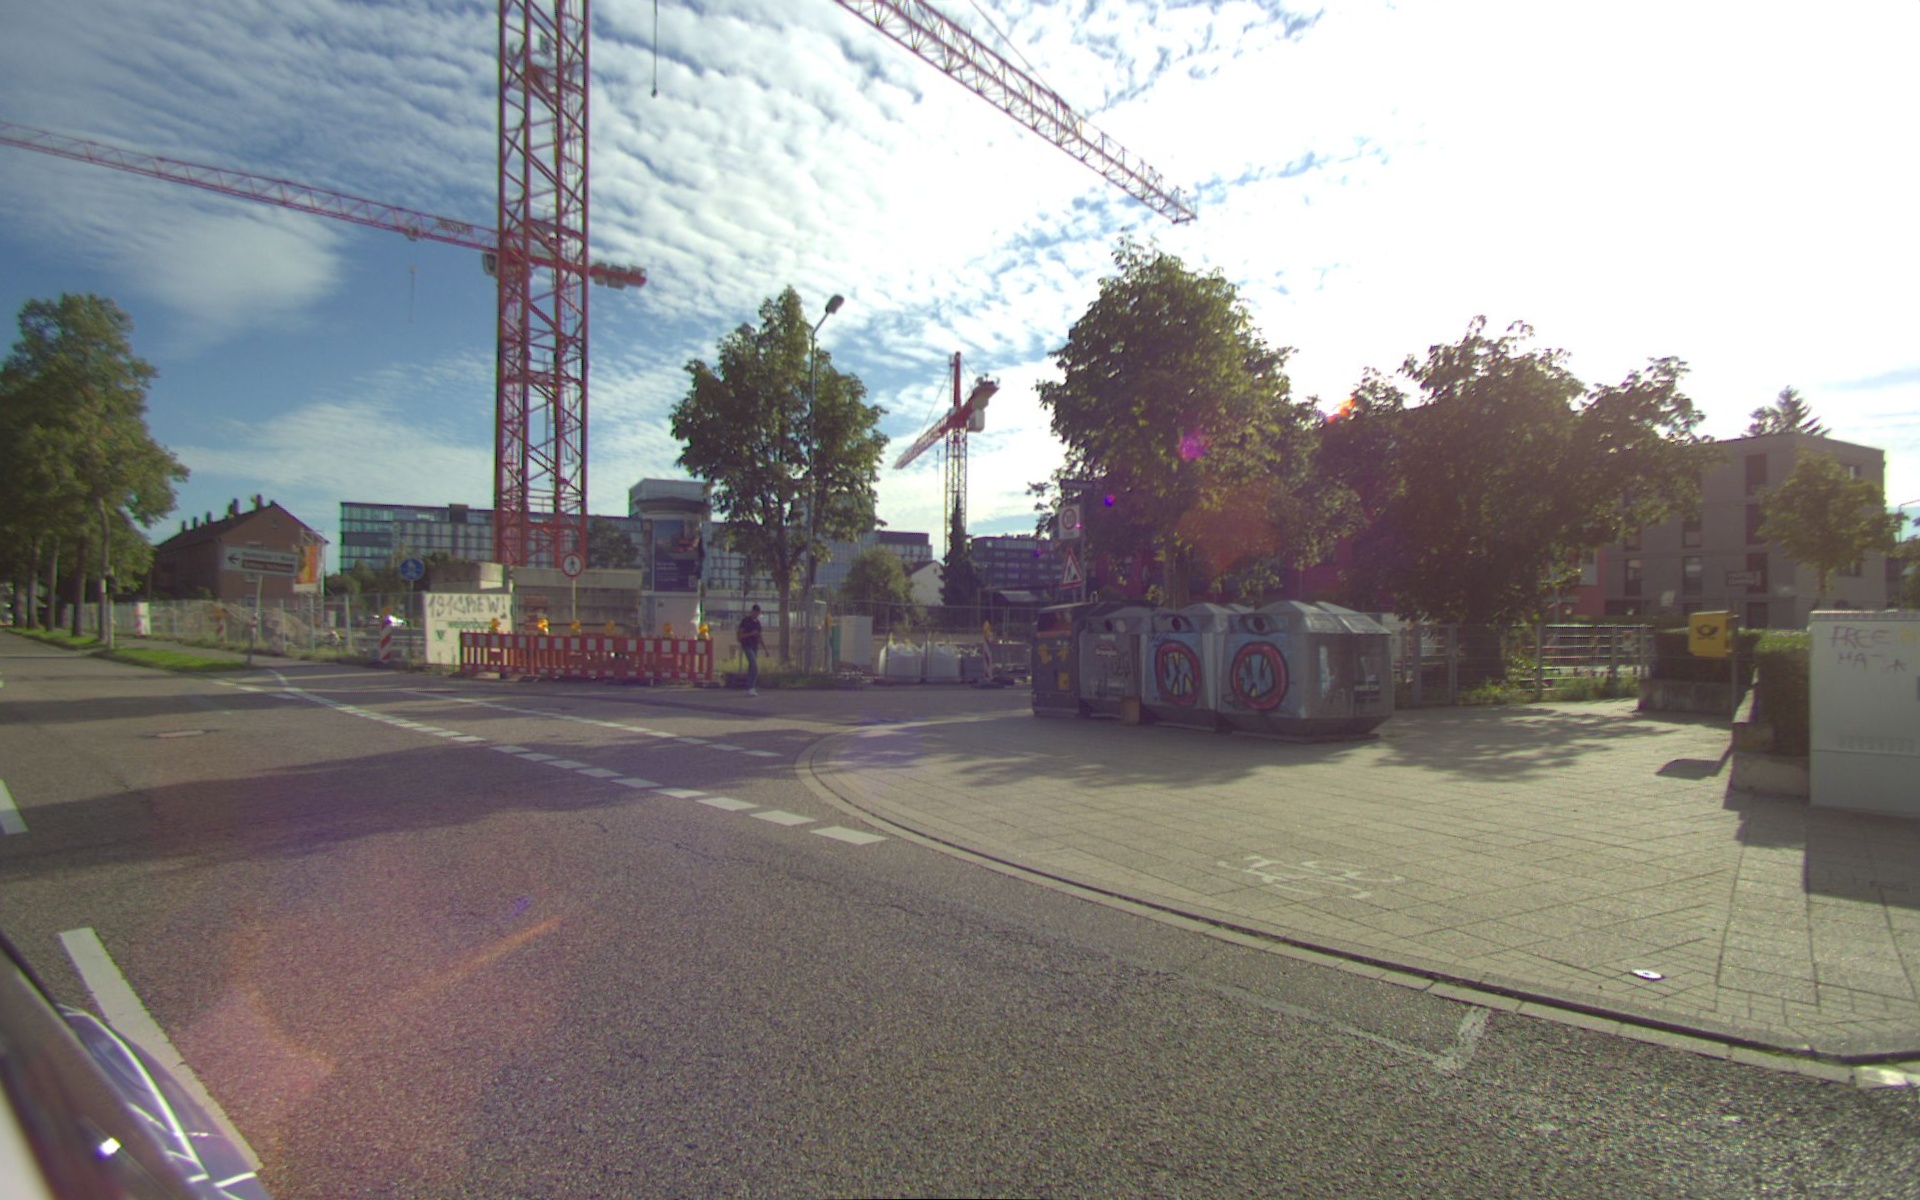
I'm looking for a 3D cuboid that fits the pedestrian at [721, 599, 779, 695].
[{"bbox_3d":[-4.031,0.894,19.455,0.774,1.782,0.734,-1,-3,39],"label":"pedestrian"}]
